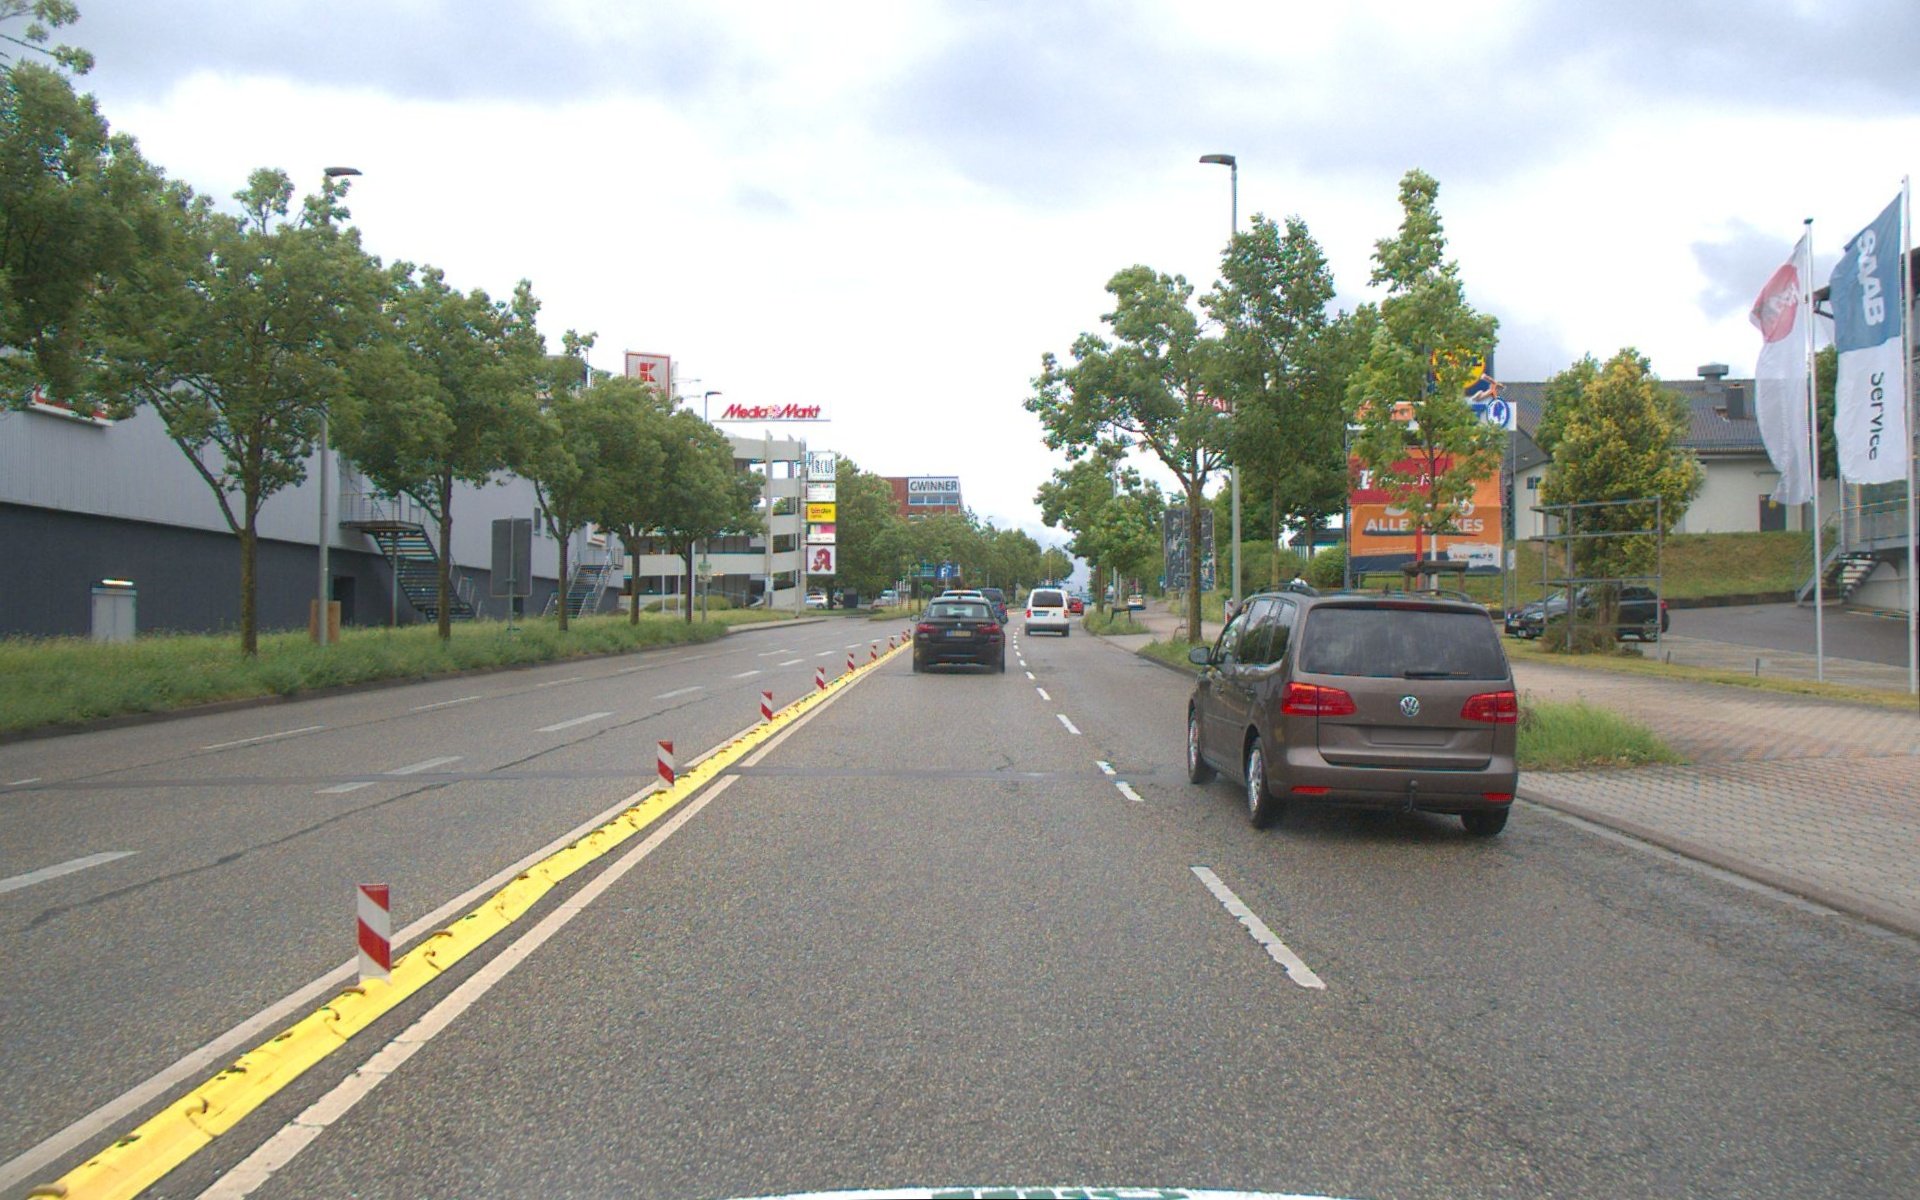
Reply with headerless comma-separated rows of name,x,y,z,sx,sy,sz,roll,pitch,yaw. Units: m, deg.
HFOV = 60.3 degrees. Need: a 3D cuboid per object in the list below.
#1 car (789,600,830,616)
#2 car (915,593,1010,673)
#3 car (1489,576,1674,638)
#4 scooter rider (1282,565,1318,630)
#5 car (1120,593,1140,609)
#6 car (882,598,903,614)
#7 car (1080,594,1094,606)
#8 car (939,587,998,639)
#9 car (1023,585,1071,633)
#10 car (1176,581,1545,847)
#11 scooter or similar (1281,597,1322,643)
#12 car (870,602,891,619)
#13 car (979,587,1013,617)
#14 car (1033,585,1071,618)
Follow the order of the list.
car,-17.025,0.903,187.317,4.506,1.776,1.967,1,1,-2
car,0.055,0.618,33.434,1.789,1.494,4.000,1,0,0
car,15.538,0.150,41.397,4.019,1.463,1.791,0,2,-13
scooter rider,9.954,-0.069,48.435,0.682,1.852,0.856,-2,-2,-10
car,17.431,0.076,169.402,1.757,1.537,4.001,2,0,3
car,-8.011,0.701,196.346,1.996,1.792,4.948,1,1,3
car,17.610,0.004,230.086,1.757,1.537,4.001,2,0,2
car,0.286,0.410,52.409,1.757,1.537,4.000,2,0,1
car,3.412,0.316,65.181,1.789,1.789,4.001,2,0,2
car,2.767,0.688,12.392,1.651,1.608,4.218,1,1,-1
scooter or similar,9.986,0.592,48.391,0.682,1.286,1.397,-2,-2,-9
car,-8.739,1.164,182.001,1.893,1.637,4.713,1,1,1
car,1.955,0.109,89.408,1.757,1.537,4.001,2,0,2
car,4.517,0.094,81.585,1.757,1.537,4.001,2,0,2
